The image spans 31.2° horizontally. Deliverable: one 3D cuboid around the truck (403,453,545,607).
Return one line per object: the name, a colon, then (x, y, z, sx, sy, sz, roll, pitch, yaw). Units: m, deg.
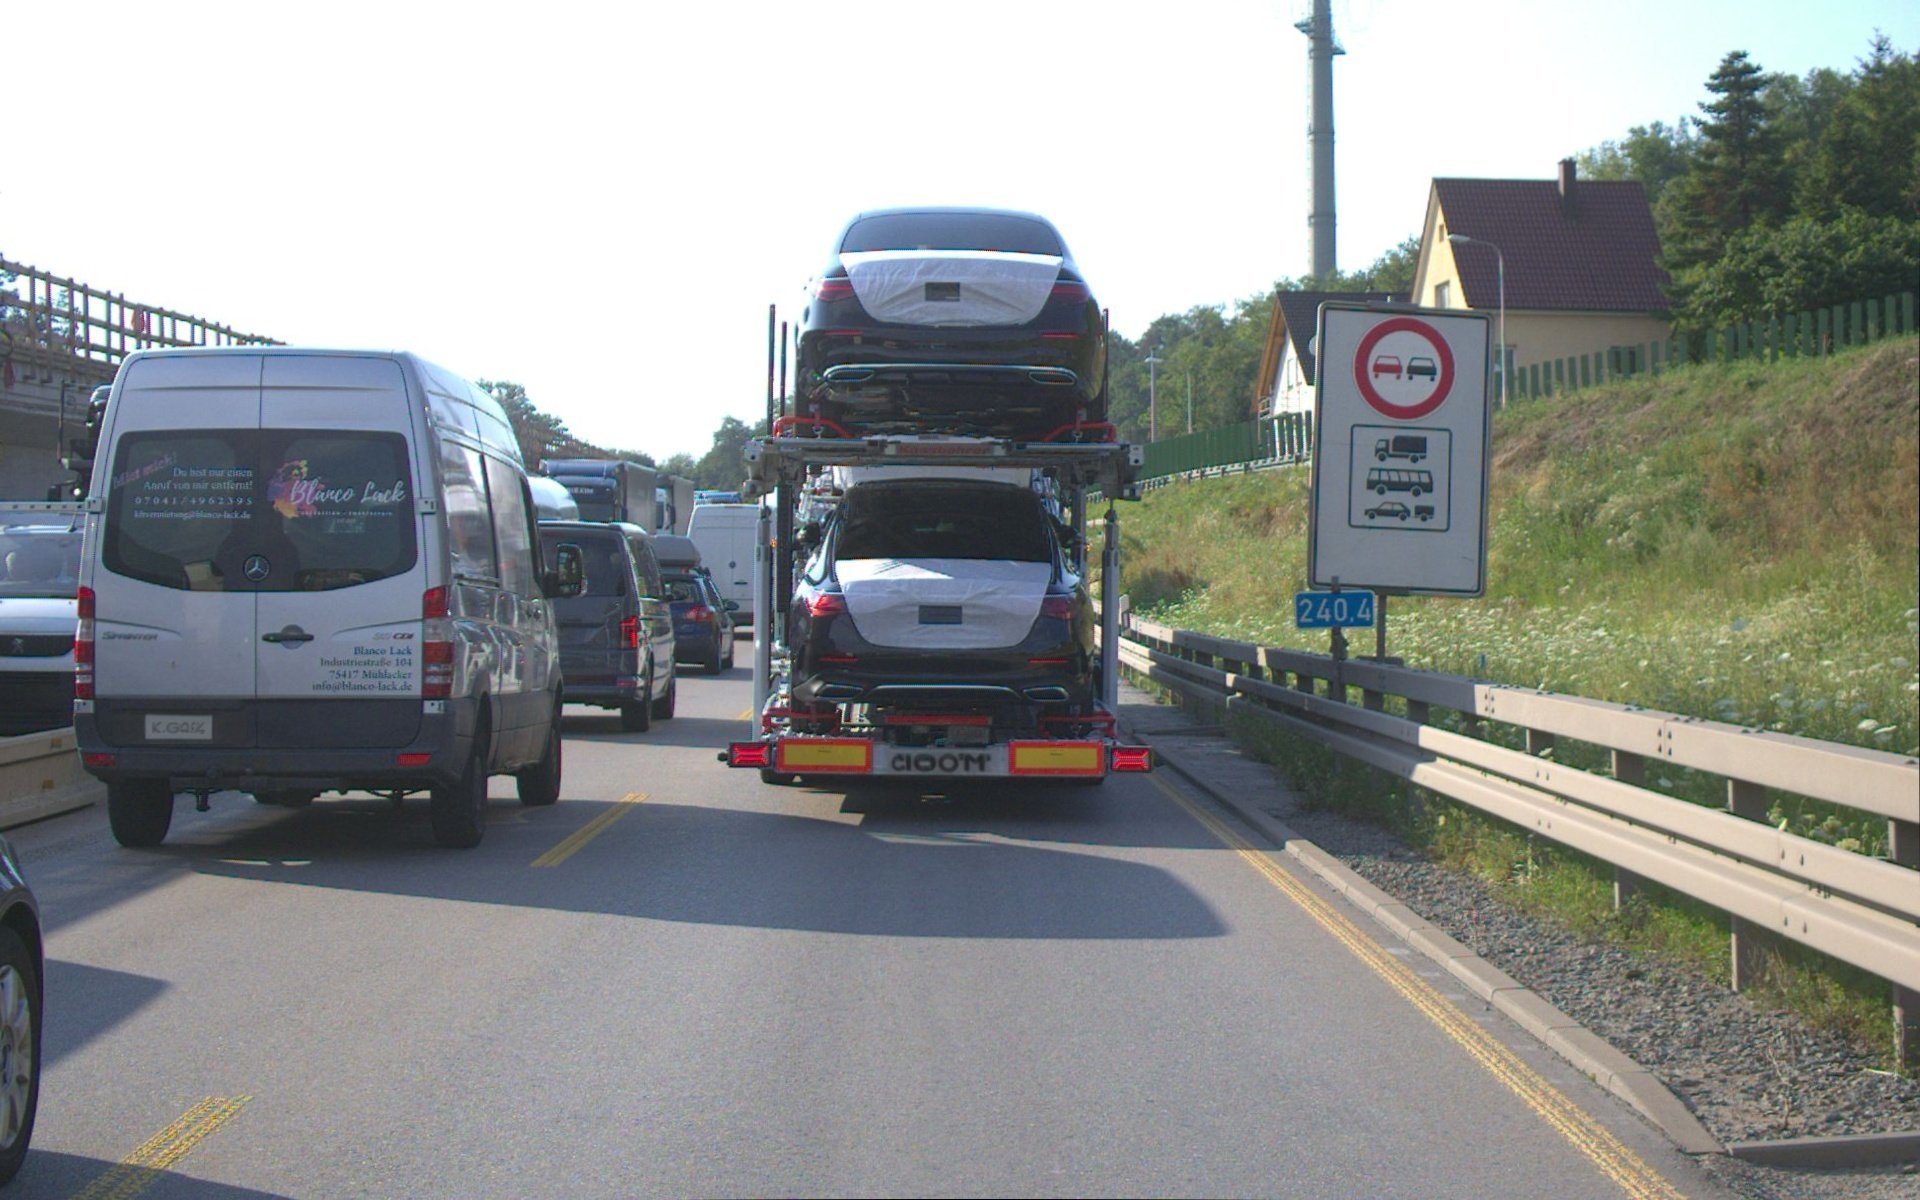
truck: (-11.225, -1.593, 79.761, 2.548, 3.397, 5.532, 1, 0, -1)

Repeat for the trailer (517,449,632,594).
trailer: (-11.393, -2.338, 102.079, 2.764, 4.127, 5.977, 1, 2, -1)

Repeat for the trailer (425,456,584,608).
trailer: (-11.266, -1.637, 85.931, 2.557, 3.514, 10.682, 1, 0, 0)

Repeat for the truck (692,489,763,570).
truck: (-10.305, -3.081, 152.847, 2.714, 3.413, 8.142, -2, 1, -2)

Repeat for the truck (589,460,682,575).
truck: (-11.650, -2.916, 123.758, 2.860, 3.994, 5.658, 1, 0, -1)

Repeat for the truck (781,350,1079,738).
truck: (-0.308, -0.552, 35.211, 2.682, 3.522, 7.194, 1, 1, -1)

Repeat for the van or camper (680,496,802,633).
van or camper: (-4.291, -0.696, 68.077, 1.968, 2.583, 5.041, 1, 0, 1)

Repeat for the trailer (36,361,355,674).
trailer: (-10.568, -1.093, 48.261, 2.771, 4.017, 7.208, 1, 0, 0)

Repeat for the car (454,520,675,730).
car: (-3.803, 0.227, 33.619, 1.808, 1.897, 4.000, 1, 0, -2)

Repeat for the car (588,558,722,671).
car: (-4.422, 0.179, 50.349, 1.725, 1.517, 3.974, 1, 1, -2)

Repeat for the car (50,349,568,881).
car: (-3.551, 0.007, 19.877, 1.993, 2.639, 5.531, 0, 1, -1)

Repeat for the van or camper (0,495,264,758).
van or camper: (-7.298, 0.177, 29.121, 1.858, 2.007, 5.296, 1, 0, -2)

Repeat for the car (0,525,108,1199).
car: (-3.037, 0.618, 6.843, 1.680, 1.583, 4.272, 0, 0, -1)

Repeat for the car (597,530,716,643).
car: (-6.953, -0.337, 79.222, 2.471, 2.525, 4.000, 0, 1, -1)

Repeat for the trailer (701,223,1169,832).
trailer: (-0.221, -0.498, 27.770, 2.682, 3.522, 15.289, 1, 1, -1)

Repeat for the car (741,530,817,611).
car: (-4.828, -0.811, 91.866, 1.885, 2.092, 3.766, 1, 1, -1)
